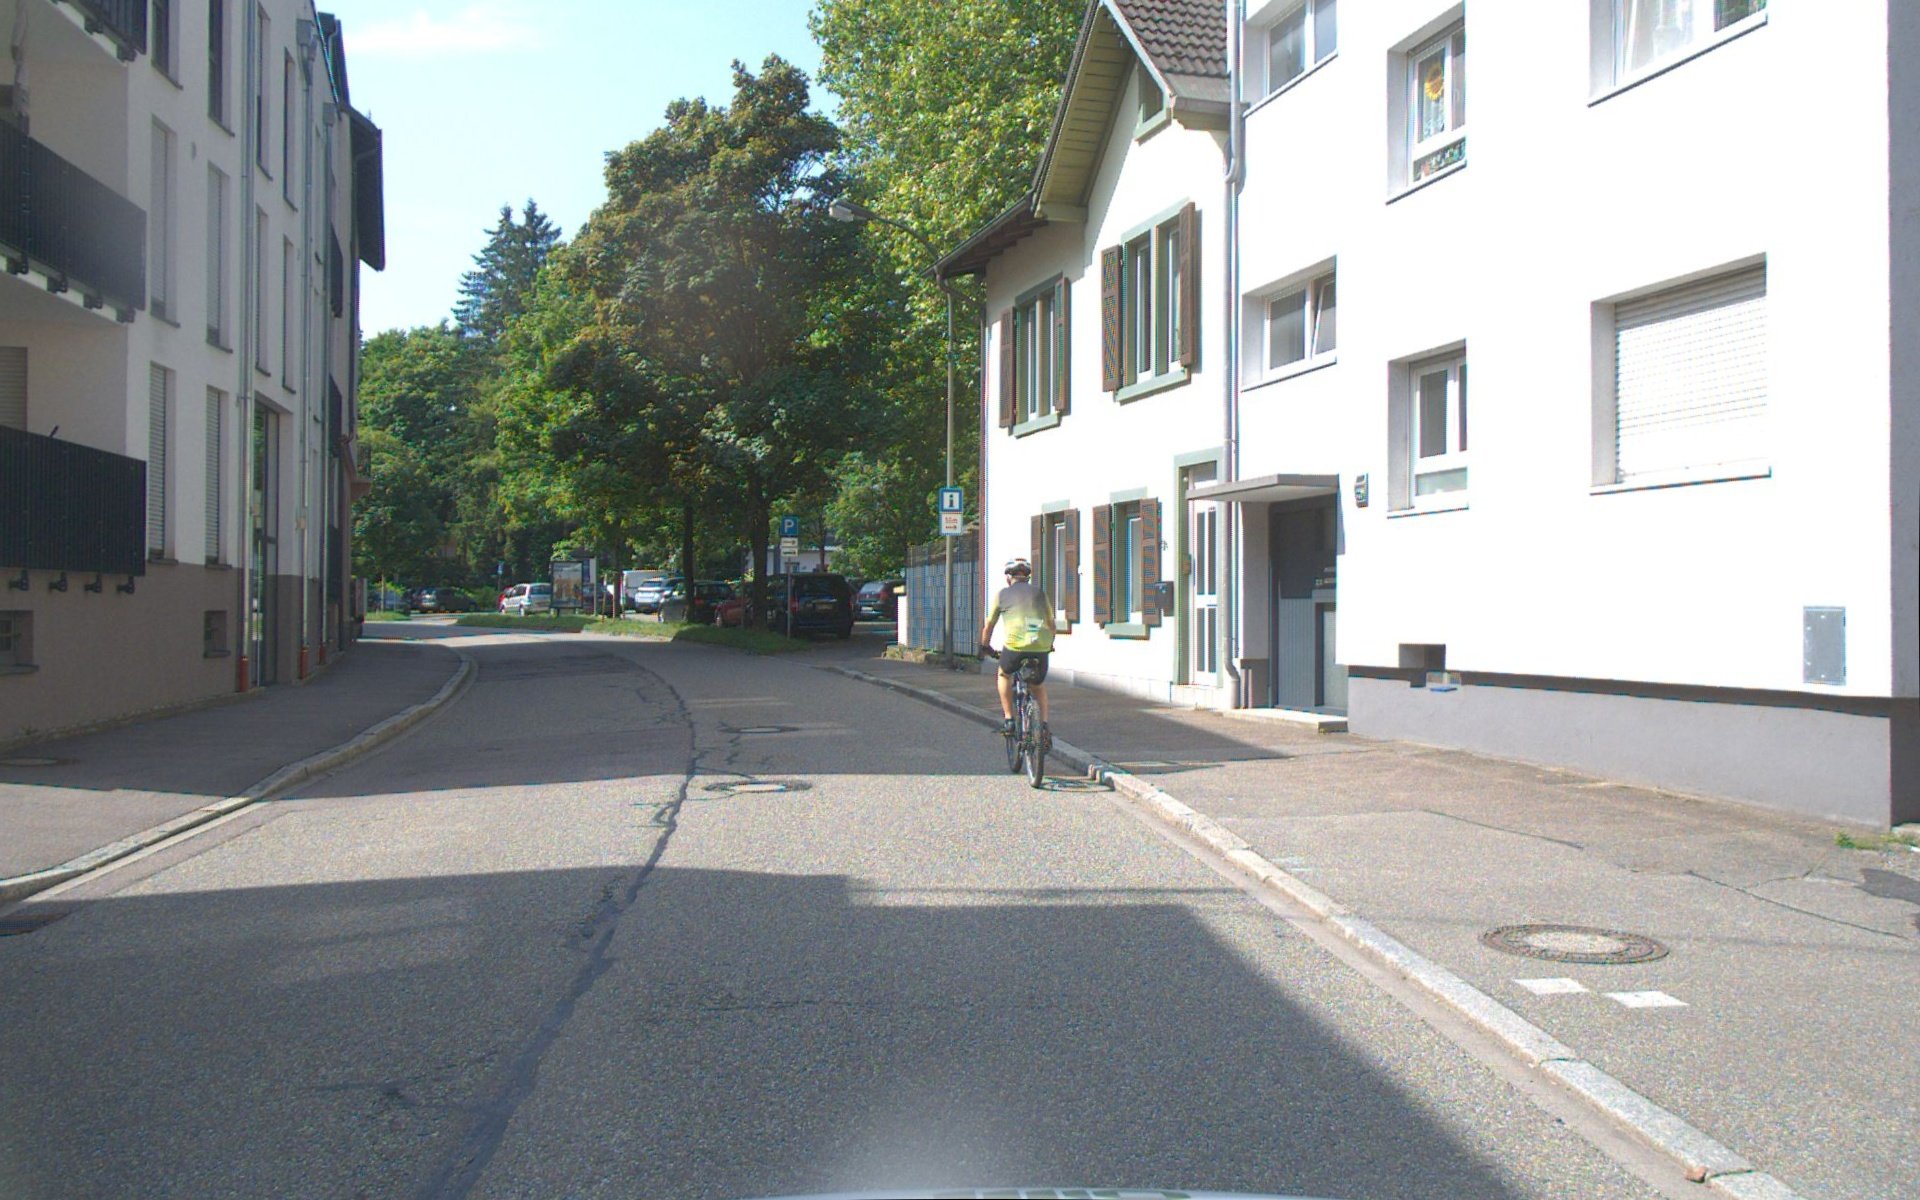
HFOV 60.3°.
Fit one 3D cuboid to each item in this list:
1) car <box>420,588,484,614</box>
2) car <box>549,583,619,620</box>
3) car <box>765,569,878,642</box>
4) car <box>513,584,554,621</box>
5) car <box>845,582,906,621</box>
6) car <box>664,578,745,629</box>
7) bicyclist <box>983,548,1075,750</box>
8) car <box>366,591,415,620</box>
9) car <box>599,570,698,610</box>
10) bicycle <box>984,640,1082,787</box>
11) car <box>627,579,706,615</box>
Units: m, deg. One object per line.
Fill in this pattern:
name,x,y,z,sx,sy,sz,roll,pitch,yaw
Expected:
car,-31.580,0.059,102.890,3.344,1.555,1.957,0,0,21
car,-15.585,0.040,68.485,1.659,1.493,3.367,0,0,-35
car,-3.772,0.094,44.403,1.799,1.822,3.970,-1,2,-24
car,-18.873,0.115,73.170,1.715,1.579,3.739,0,0,-15
car,-2.989,0.032,58.030,1.554,1.279,3.846,-1,0,-11
car,-8.570,0.079,55.340,1.686,1.569,3.970,-1,2,-24
bicyclist,0.540,0.381,13.182,0.671,1.558,0.715,-1,-1,-1
car,-31.547,0.272,91.566,1.622,1.555,3.442,0,0,-36
car,-14.957,-0.469,79.532,1.959,1.887,4.684,0,0,35
bicycle,0.565,0.881,13.282,0.684,1.053,1.471,1,0,-1
car,-13.400,-0.144,75.738,1.772,1.579,4.000,0,0,21
